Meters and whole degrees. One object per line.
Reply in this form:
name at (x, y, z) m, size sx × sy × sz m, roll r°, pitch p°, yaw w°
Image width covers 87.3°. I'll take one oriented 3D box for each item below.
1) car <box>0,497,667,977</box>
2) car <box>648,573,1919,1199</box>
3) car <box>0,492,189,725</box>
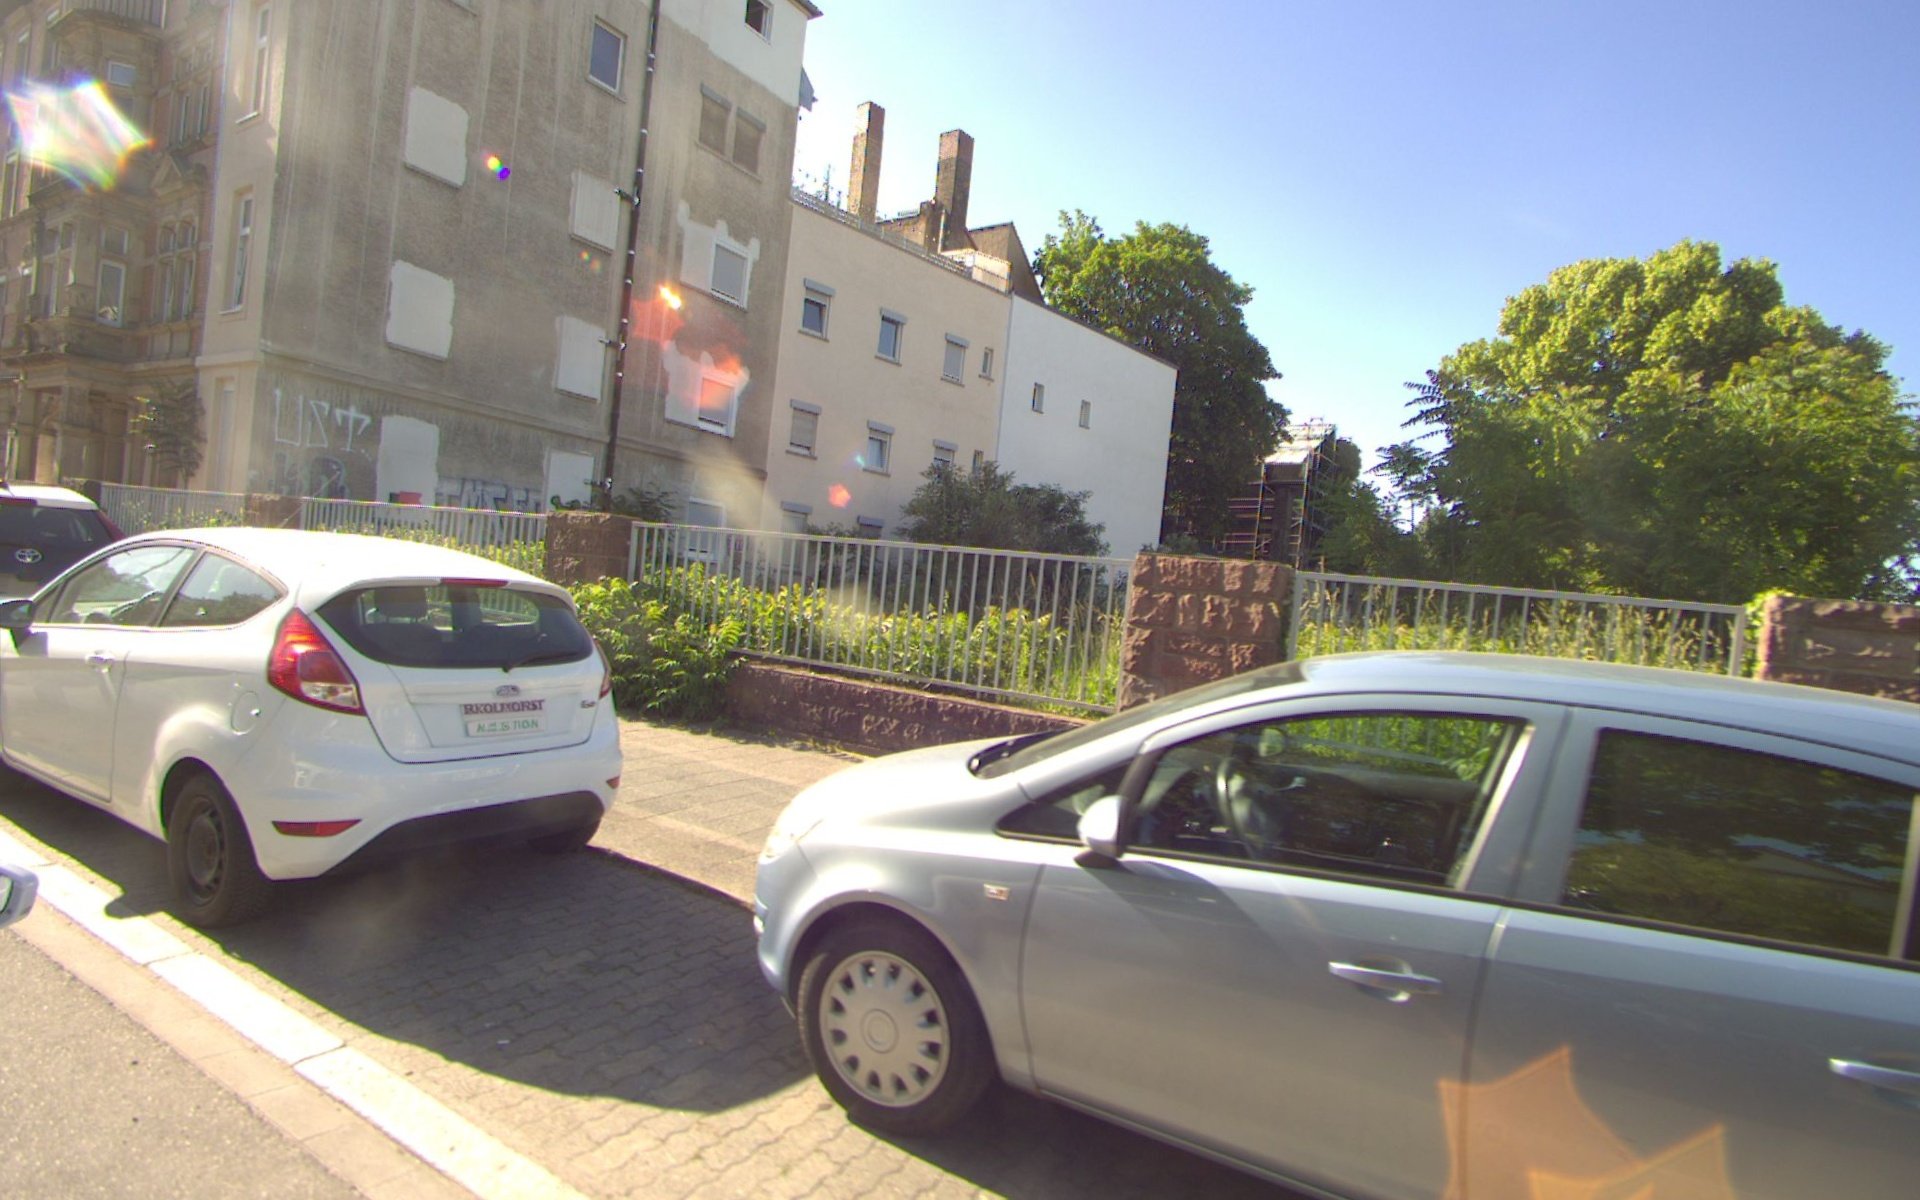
car at (-3.357, 0.363, 4.932) m, size 3.597 × 1.466 × 1.608 m, roll 7°, pitch 3°, yaw 31°
car at (1.188, 0.850, 2.900) m, size 3.917 × 1.480 × 1.668 m, roll 6°, pitch 3°, yaw 28°
car at (-7.789, -0.100, 7.651) m, size 3.598 × 1.538 × 1.670 m, roll 6°, pitch 1°, yaw 29°
